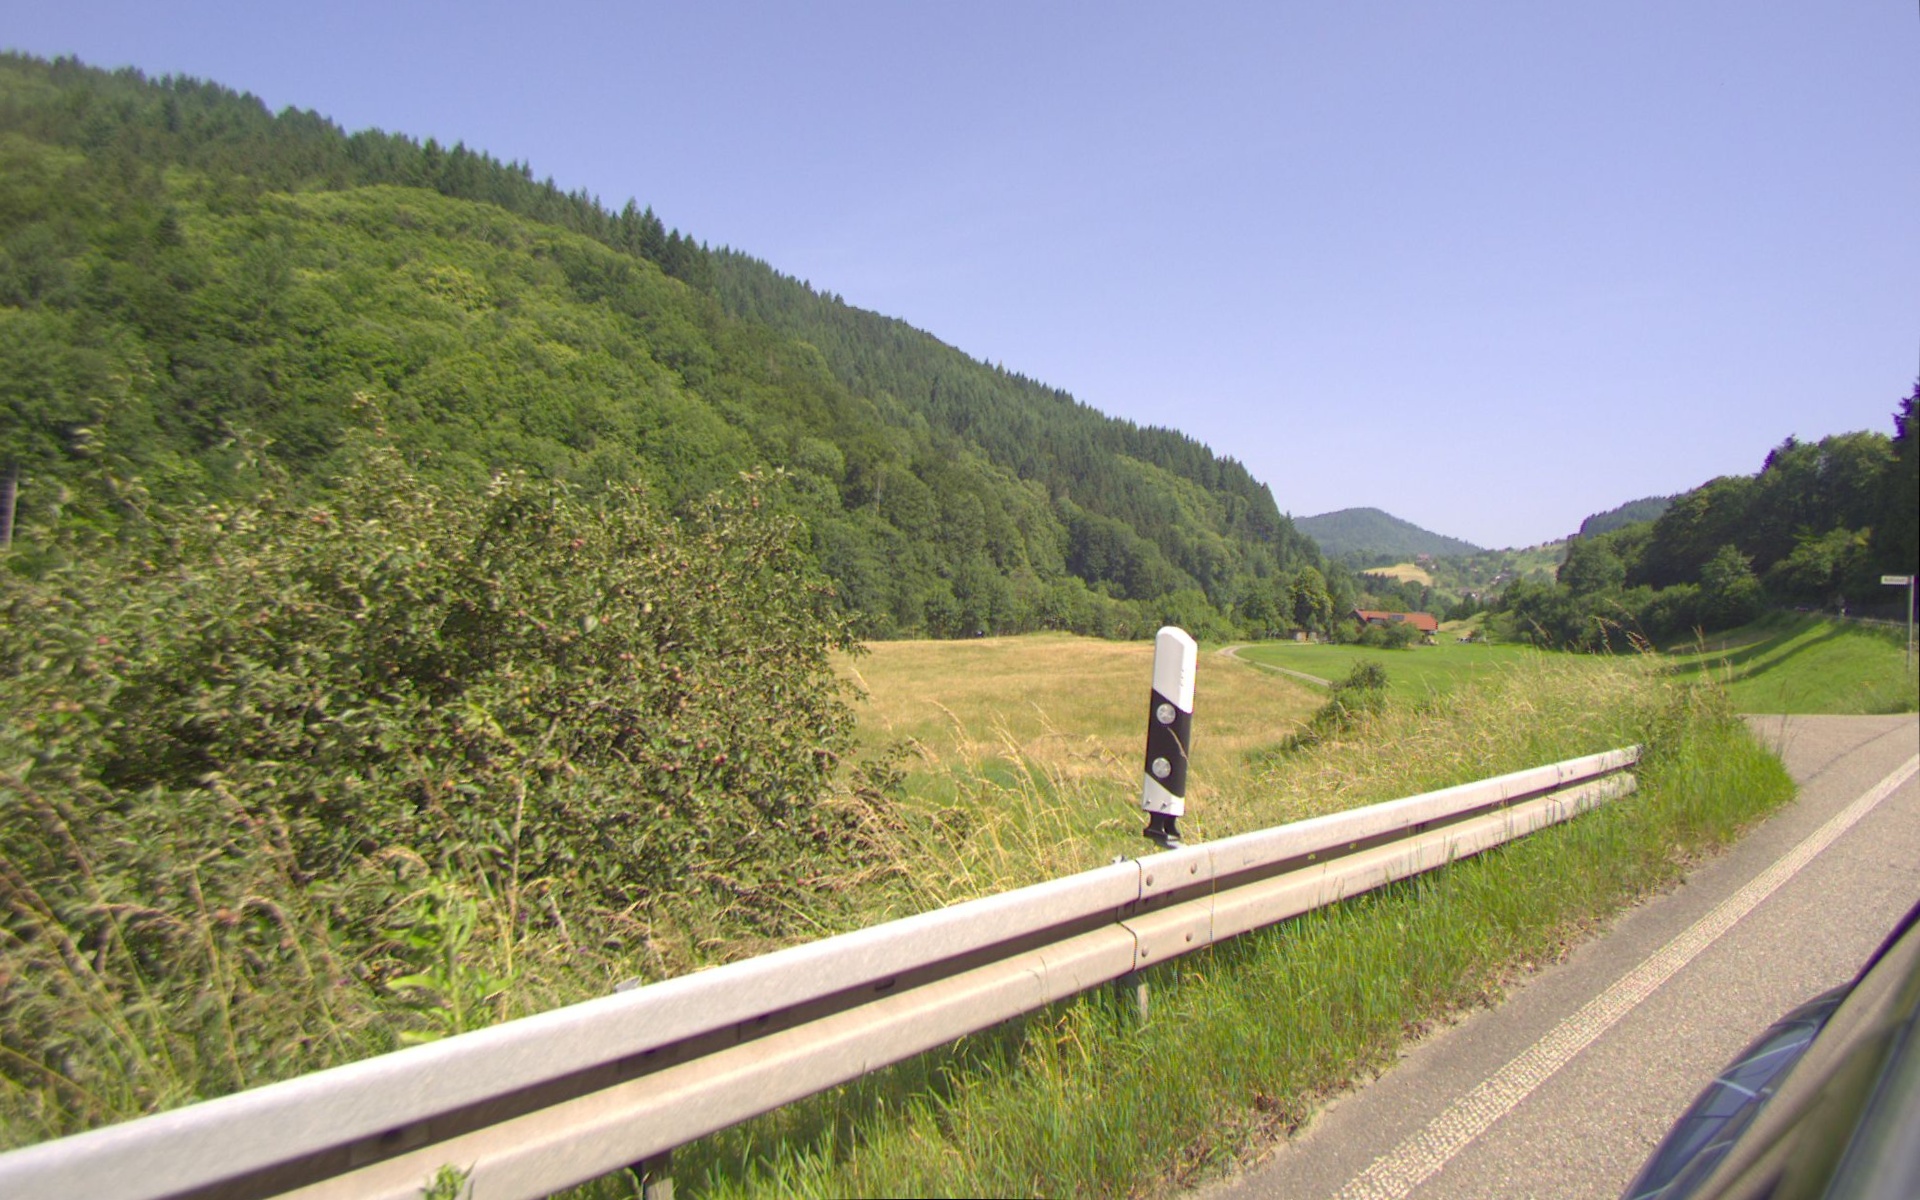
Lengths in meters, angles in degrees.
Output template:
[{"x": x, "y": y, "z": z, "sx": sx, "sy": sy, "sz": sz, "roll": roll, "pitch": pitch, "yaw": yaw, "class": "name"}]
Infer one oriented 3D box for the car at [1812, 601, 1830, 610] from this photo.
[{"x": 149.693, "y": 0.989, "z": 176.020, "sx": 1.757, "sy": 1.414, "sz": 4.099, "roll": 1, "pitch": 1, "yaw": 32, "class": "car"}]
